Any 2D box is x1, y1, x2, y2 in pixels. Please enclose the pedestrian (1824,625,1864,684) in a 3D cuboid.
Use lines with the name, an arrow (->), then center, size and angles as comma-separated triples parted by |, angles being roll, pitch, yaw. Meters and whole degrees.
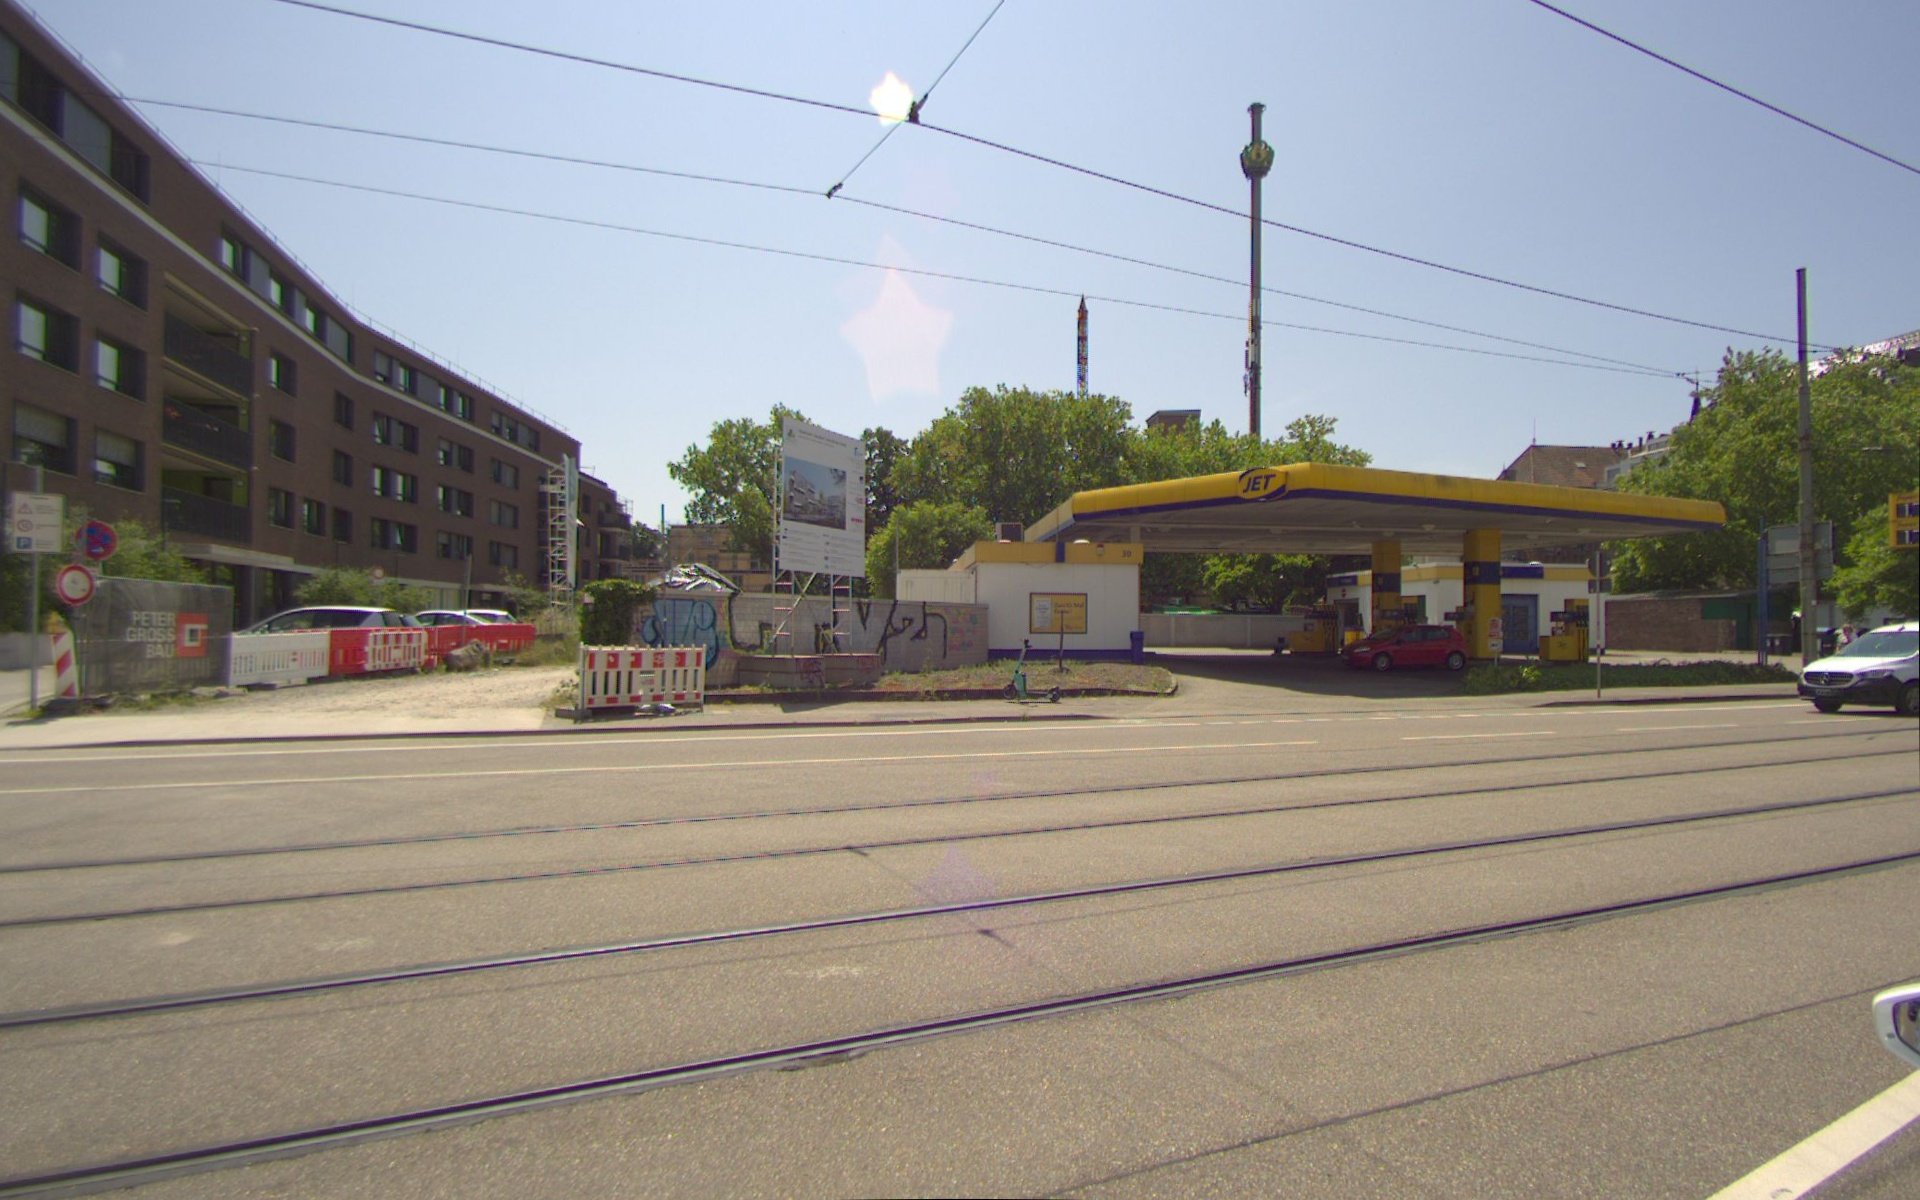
pedestrian -> 26.100, 1.590, 29.660 | 0.711, 1.713, 0.625 | 1, -1, -17

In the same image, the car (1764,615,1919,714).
car -> 18.834, 1.243, 19.879 | 4.467, 1.823, 1.998 | 1, -1, -6

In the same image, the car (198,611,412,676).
car -> -15.614, 1.026, 24.159 | 3.935, 1.488, 1.731 | 1, -1, -17

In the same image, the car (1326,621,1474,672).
car -> 14.383, 1.504, 32.955 | 4.119, 1.525, 1.830 | 0, 1, -5

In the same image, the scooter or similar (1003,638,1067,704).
scooter or similar -> 1.493, 1.408, 19.957 | 1.218, 1.281, 0.346 | 1, 0, -4

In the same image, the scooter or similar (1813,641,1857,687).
scooter or similar -> 23.786, 1.728, 27.292 | 1.361, 1.216, 0.516 | 1, 0, -31

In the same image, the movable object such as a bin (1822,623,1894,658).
movable object such as a bin -> 41.960, 1.890, 46.955 | 2.059, 1.529, 1.525 | 1, 0, -4

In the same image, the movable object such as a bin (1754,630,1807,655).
movable object such as a bin -> 41.424, 2.139, 50.746 | 1.534, 1.153, 1.408 | 1, 0, -4

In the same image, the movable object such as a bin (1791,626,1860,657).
movable object such as a bin -> 41.856, 1.997, 48.616 | 2.059, 1.451, 1.525 | 1, 0, -4

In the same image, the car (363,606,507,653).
car -> -17.272, 0.988, 33.228 | 3.937, 1.488, 1.730 | 1, -1, -18
